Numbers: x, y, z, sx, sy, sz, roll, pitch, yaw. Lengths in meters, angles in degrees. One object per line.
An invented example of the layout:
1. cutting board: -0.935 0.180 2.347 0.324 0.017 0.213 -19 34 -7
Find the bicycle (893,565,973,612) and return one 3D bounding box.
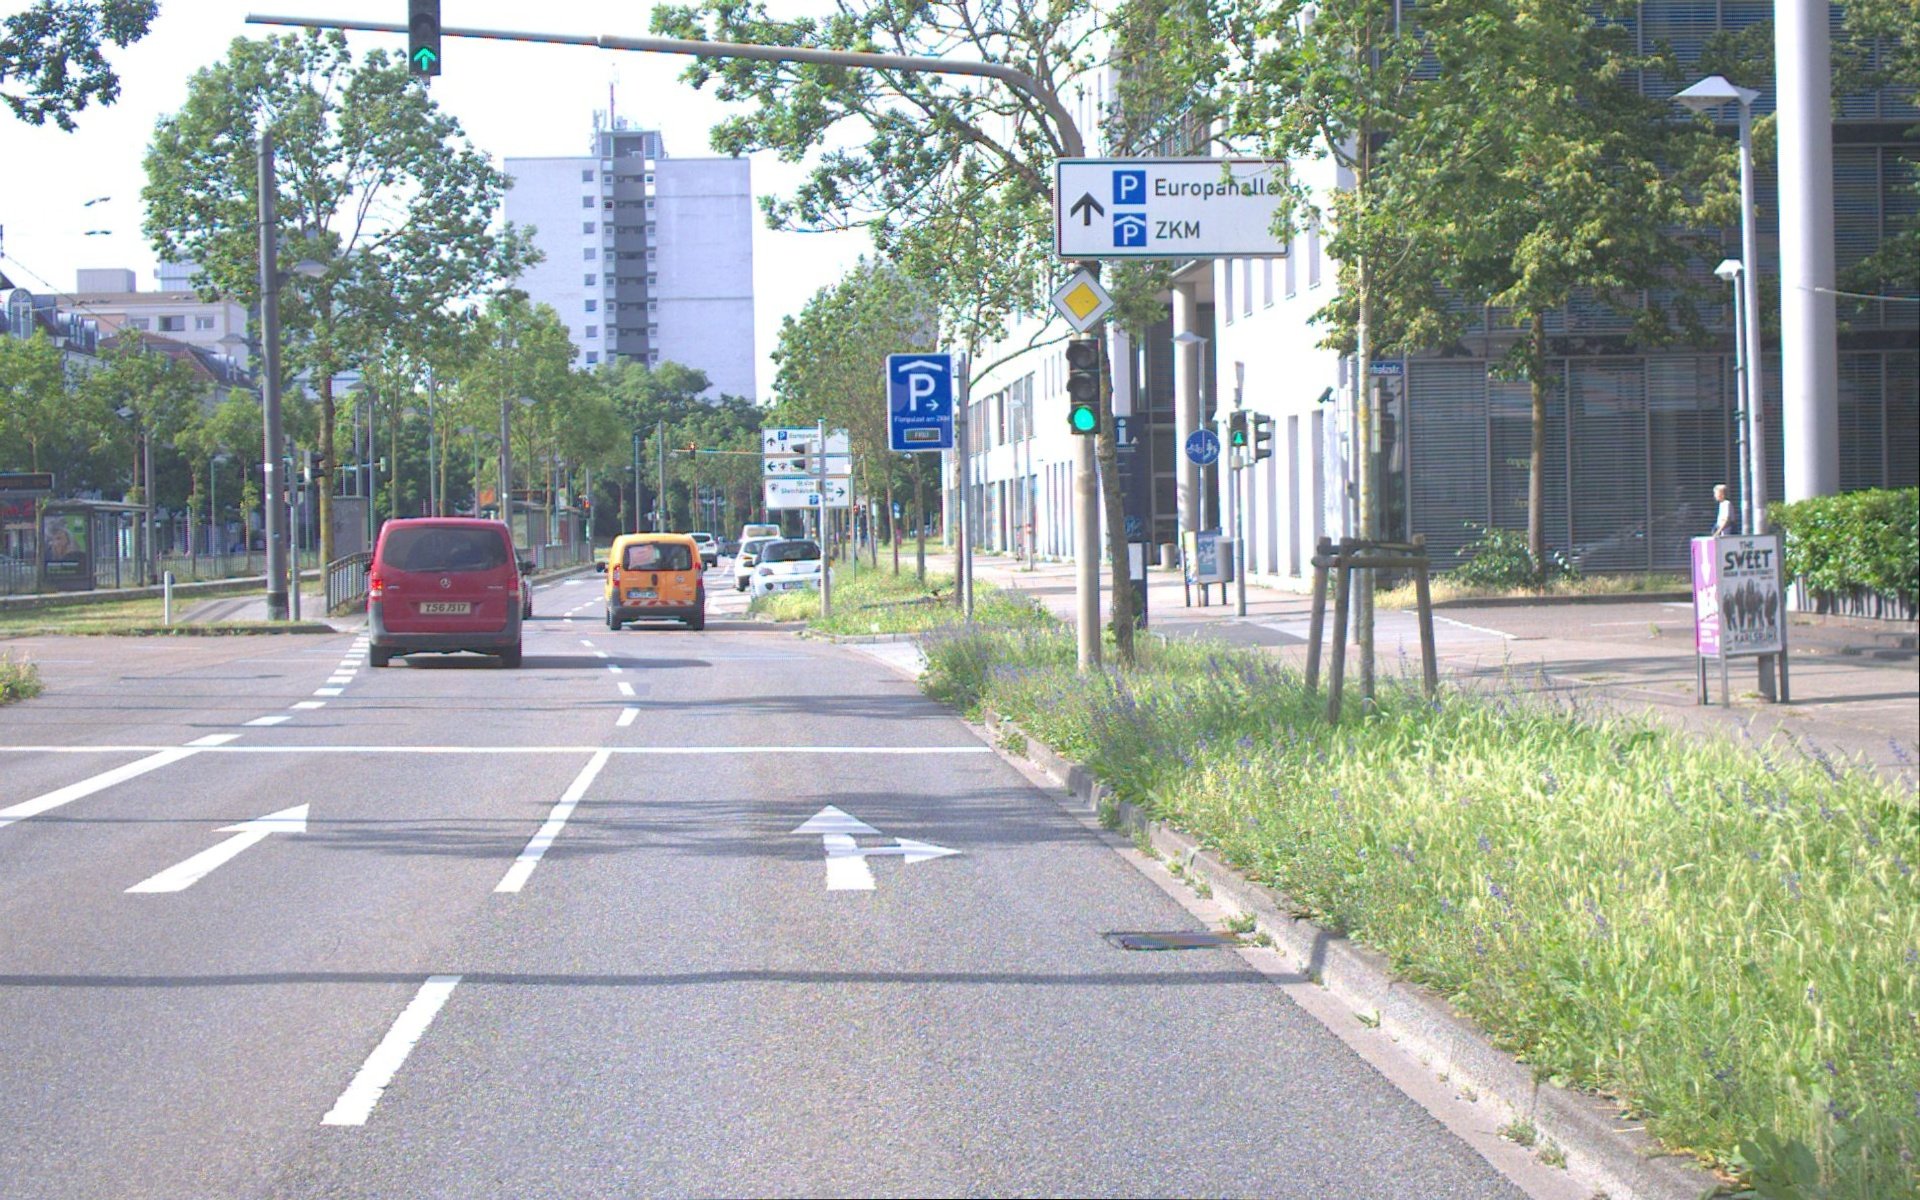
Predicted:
1. bicycle: -0.457 -0.198 58.745 1.271 0.630 0.521 -7 1 4

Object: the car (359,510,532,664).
1. car: -6.484 -0.205 43.697 1.874 1.847 4.001 -1 1 -5

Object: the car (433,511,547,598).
1. car: -9.505 -0.933 69.774 1.993 1.700 4.001 -1 1 -3

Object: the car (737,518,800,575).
1. car: -5.521 -1.543 99.083 1.689 1.521 3.851 -3 1 -3

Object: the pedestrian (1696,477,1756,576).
1. pedestrian: 12.604 -1.207 56.592 0.777 1.610 0.713 -1 1 -5

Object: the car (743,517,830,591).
1. car: -3.703 -0.977 72.880 1.720 1.514 3.782 -1 1 -4

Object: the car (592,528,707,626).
1. car: -5.562 -0.442 61.975 1.875 1.690 3.974 -1 1 -3

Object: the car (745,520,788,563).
1. car: -9.186 -2.770 162.714 1.993 2.007 4.001 1 1 -3

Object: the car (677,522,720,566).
1. car: -12.288 -2.632 161.364 1.993 2.007 4.001 -1 1 -5
